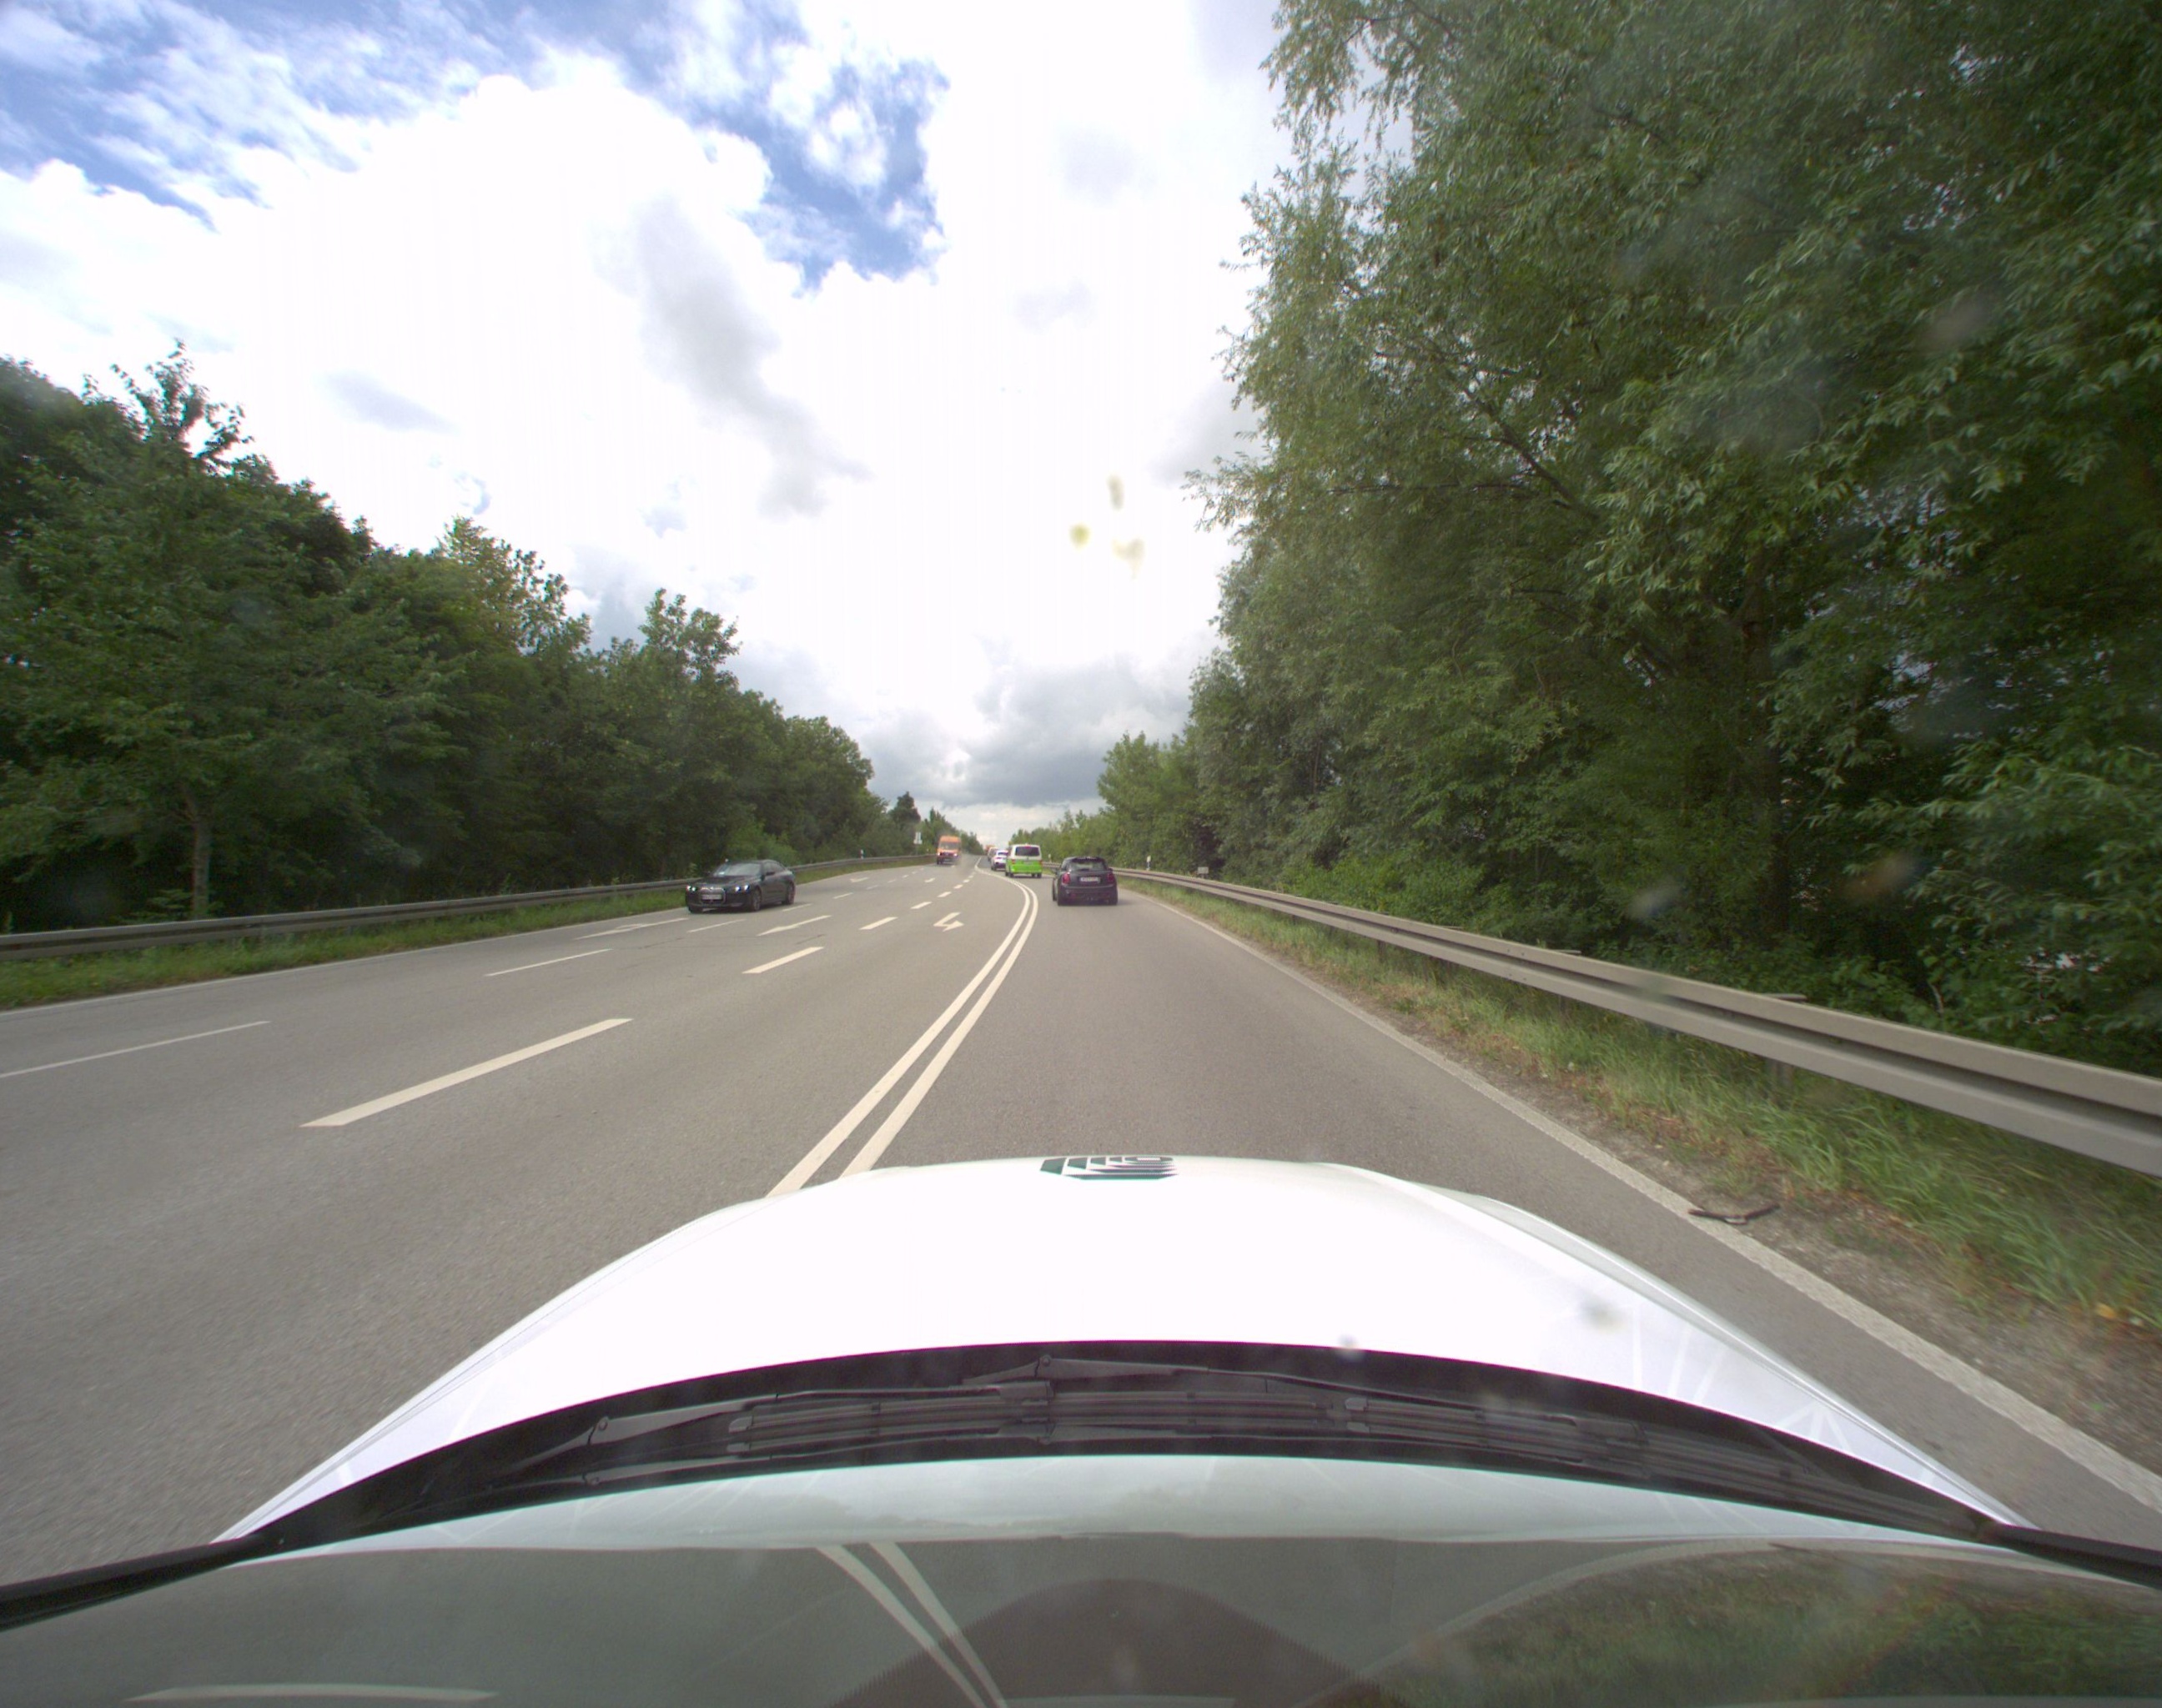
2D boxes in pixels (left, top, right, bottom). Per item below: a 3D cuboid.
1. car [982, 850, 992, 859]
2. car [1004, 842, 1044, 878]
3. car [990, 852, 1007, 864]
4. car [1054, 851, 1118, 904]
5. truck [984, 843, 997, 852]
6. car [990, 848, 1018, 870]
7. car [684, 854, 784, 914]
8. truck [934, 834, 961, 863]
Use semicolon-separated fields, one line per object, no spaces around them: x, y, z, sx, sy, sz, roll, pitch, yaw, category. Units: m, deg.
-18.551;0.143;161.062;1.991;1.798;3.991;0;0;-6;car
-3.451;0.310;48.714;2.022;2.013;3.987;-1;1;-9;car
-8.764;0.414;86.537;1.692;1.222;3.992;-1;0;-6;car
0.076;0.650;24.875;1.728;1.456;3.995;-1;0;-3;car
-23.704;-1.757;213.718;2.903;2.372;10.441;0;0;-3;truck
-5.920;0.334;62.165;1.986;1.618;4.143;-1;1;-7;car
-10.052;0.796;23.918;1.718;1.498;4.531;-1;1;-11;car
-12.438;-0.492;76.125;2.314;2.601;6.008;0;1;-7;truck
